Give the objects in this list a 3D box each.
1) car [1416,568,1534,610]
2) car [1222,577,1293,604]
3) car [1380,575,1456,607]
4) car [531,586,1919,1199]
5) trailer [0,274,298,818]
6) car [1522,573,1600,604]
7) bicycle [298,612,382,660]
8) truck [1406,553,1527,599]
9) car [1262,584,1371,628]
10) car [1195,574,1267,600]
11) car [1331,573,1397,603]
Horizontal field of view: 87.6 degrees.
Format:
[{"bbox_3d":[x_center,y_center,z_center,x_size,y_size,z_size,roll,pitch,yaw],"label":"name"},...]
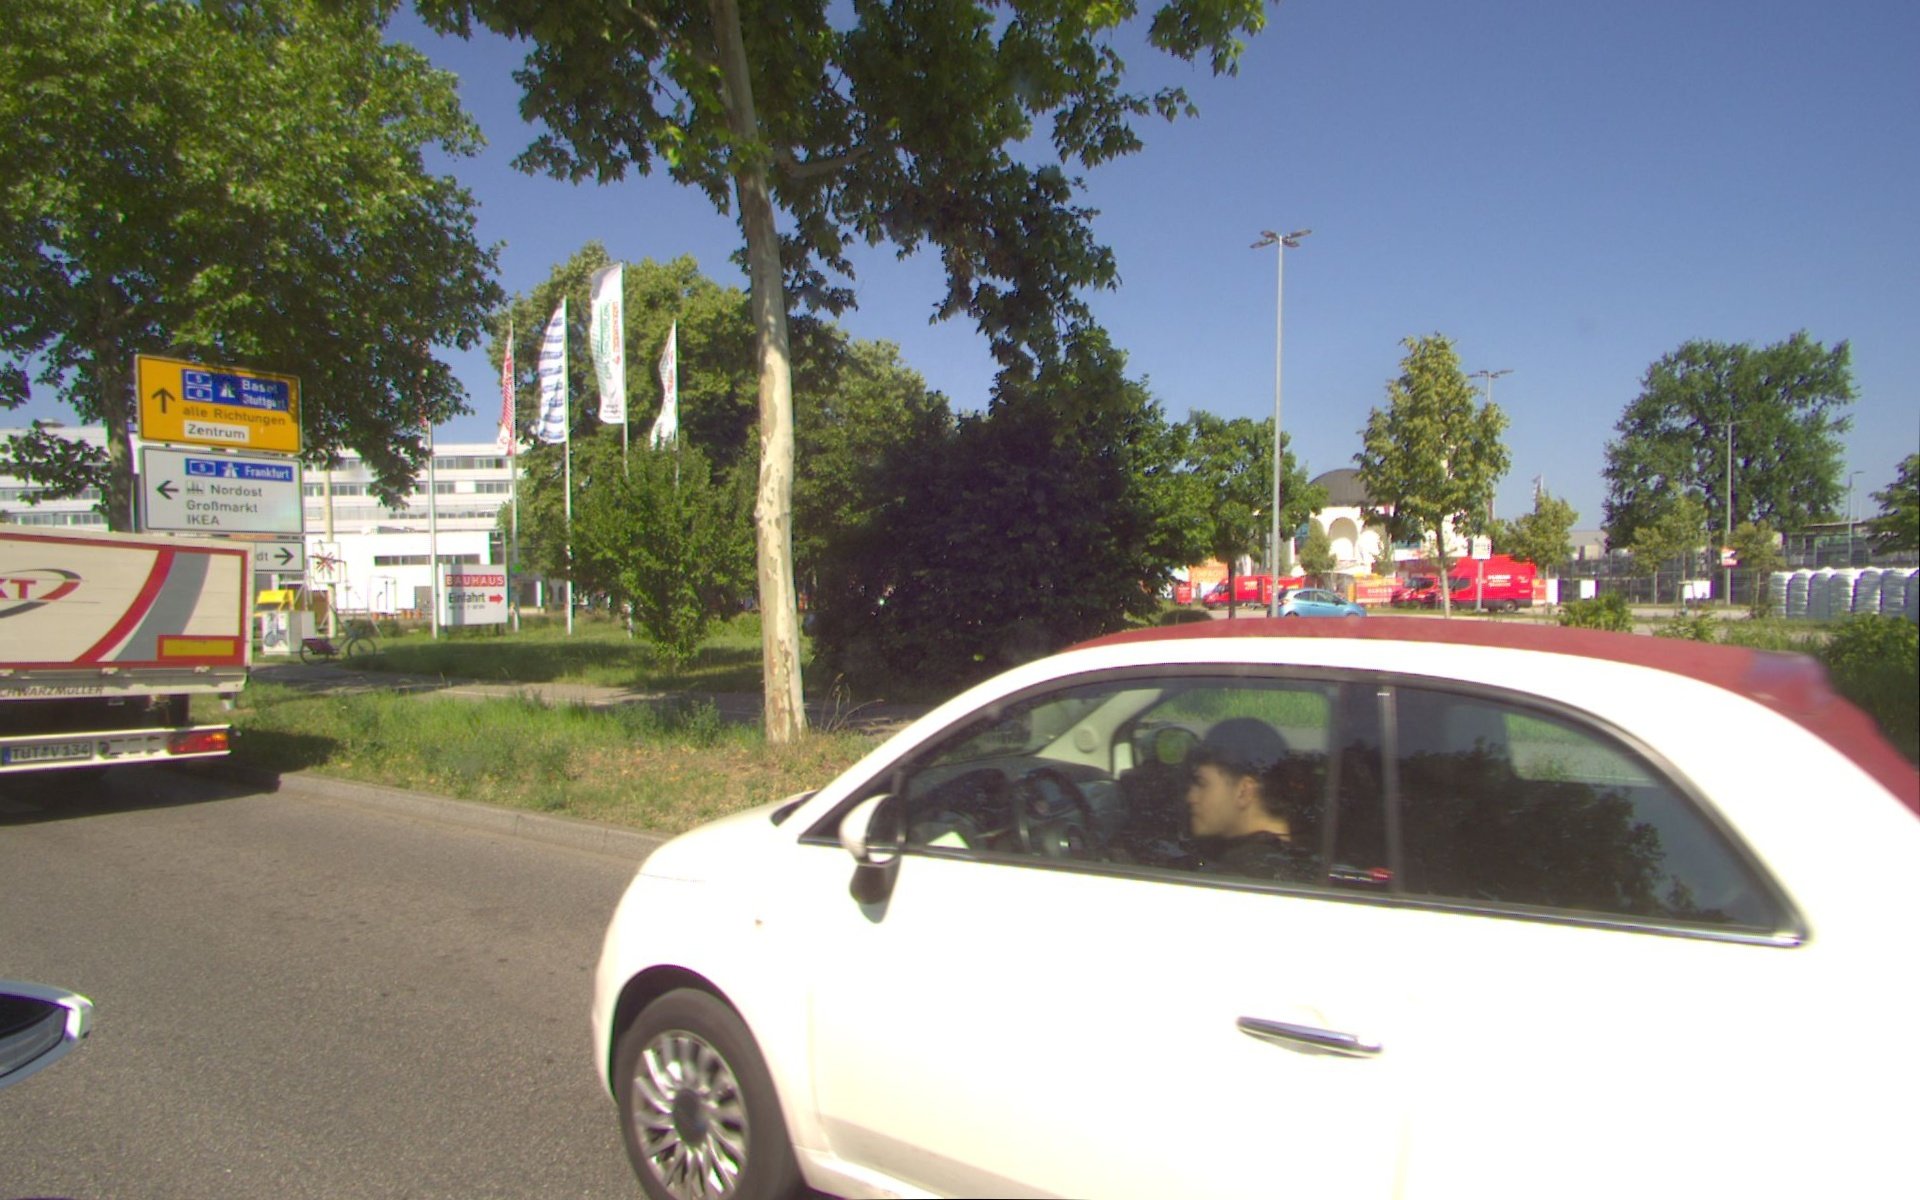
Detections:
[{"bbox_3d":[30.064,-0.608,58.587,5.823,2.371,2.115,0,-1,2],"label":"car"},{"bbox_3d":[22.241,-0.674,74.947,4.824,1.906,1.770,0,-1,2],"label":"car"},{"bbox_3d":[28.493,-0.540,62.357,3.924,1.884,1.999,-1,-1,11],"label":"car"},{"bbox_3d":[0.716,0.742,2.439,3.472,1.455,1.657,-1,-1,35],"label":"car"},{"bbox_3d":[-11.502,-0.261,10.639,12.070,3.789,3.009,-1,-1,34],"label":"trailer"},{"bbox_3d":[42.223,-0.801,70.446,4.304,2.040,2.000,0,-1,-2],"label":"car"},{"bbox_3d":[-16.430,0.949,26.573,0.625,1.229,1.818,-1,-1,38],"label":"bicycle"},{"bbox_3d":[37.664,-1.800,74.589,8.067,3.290,2.000,0,-1,-2],"label":"truck"},{"bbox_3d":[13.177,0.234,37.123,3.387,1.591,1.745,0,-1,-2],"label":"car"},{"bbox_3d":[21.755,-1.020,80.541,5.188,2.040,2.000,0,-1,-4],"label":"car"},{"bbox_3d":[28.948,-0.862,71.836,3.922,2.040,2.000,0,-1,2],"label":"car"}]
